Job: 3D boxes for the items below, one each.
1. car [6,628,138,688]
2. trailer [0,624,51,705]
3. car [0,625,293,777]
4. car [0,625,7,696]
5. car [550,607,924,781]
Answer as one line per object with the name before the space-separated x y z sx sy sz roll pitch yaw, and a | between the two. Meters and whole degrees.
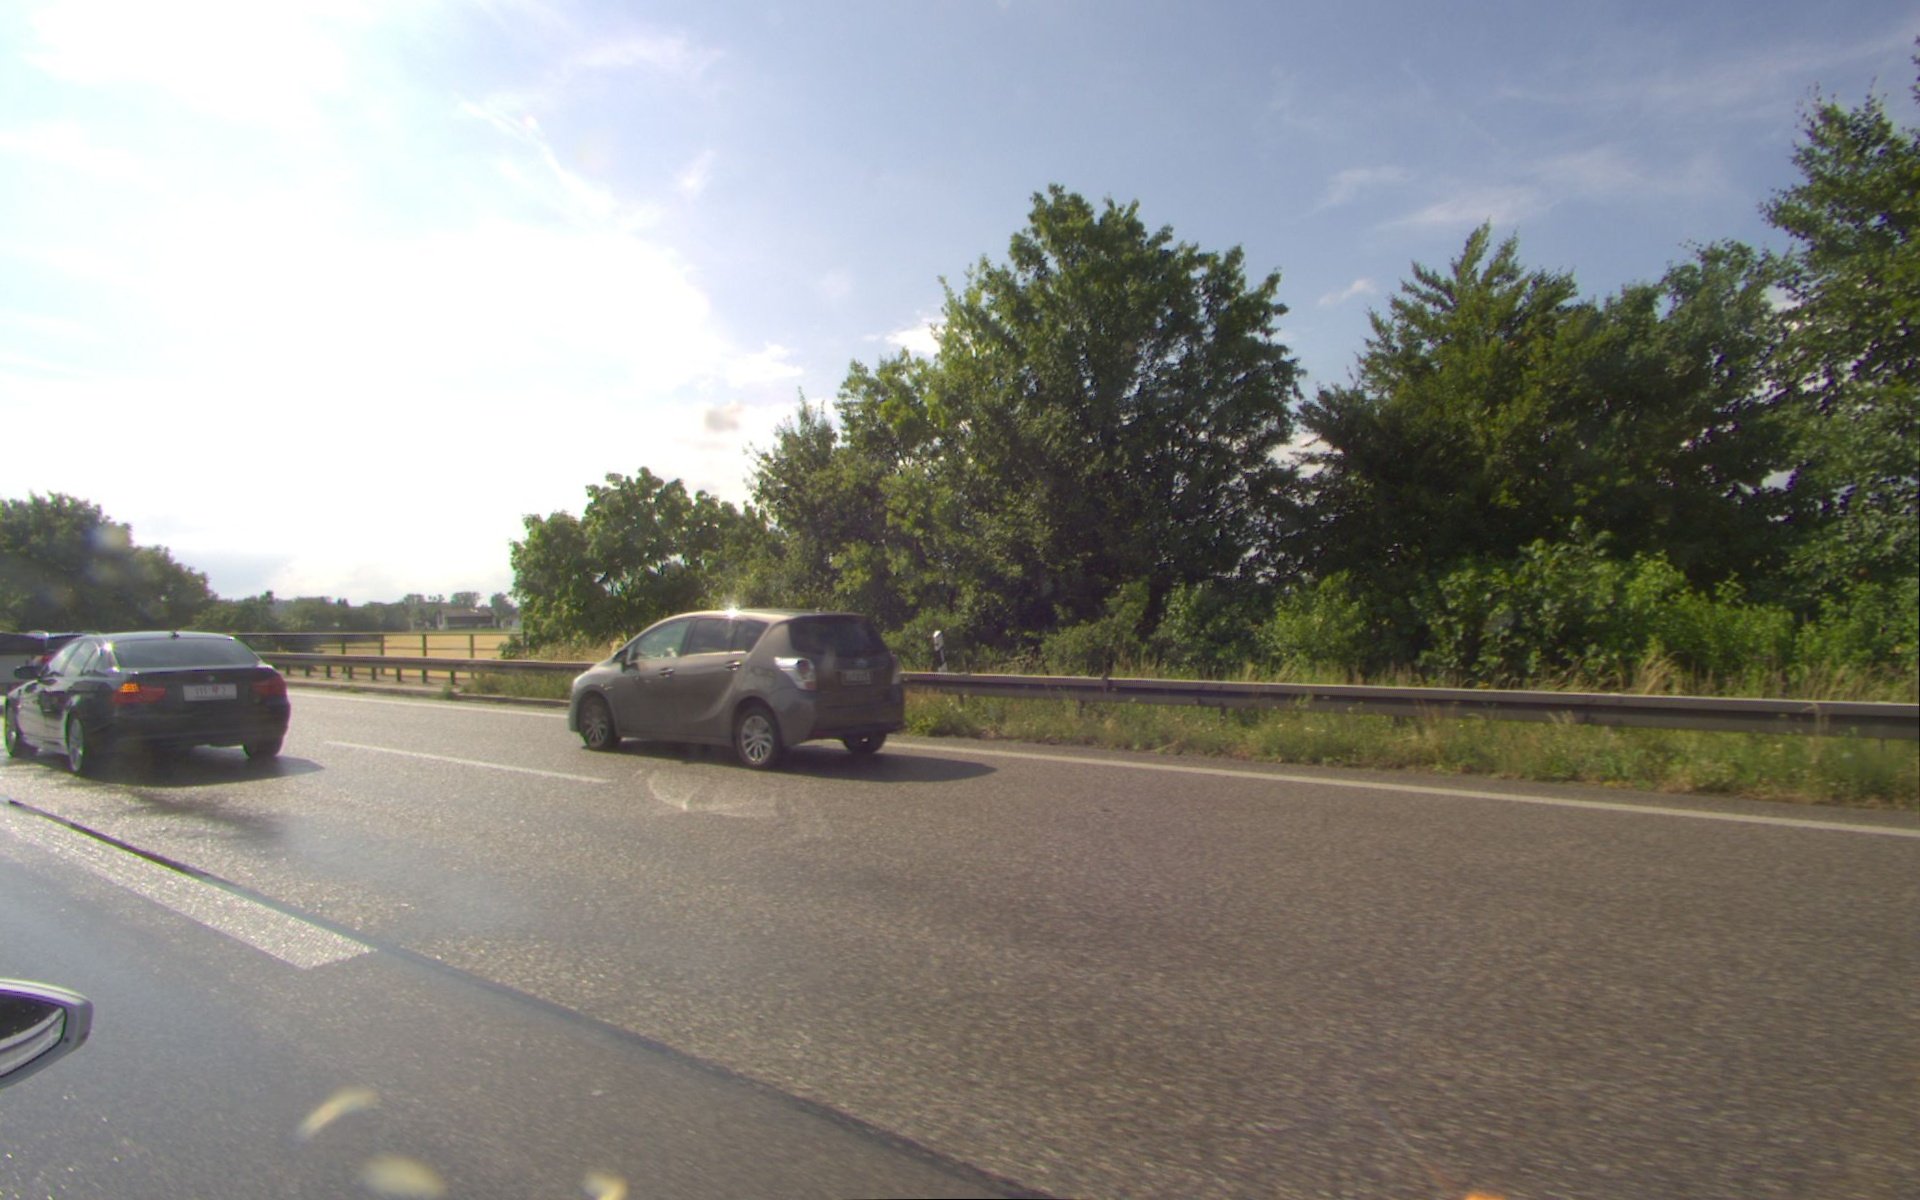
car | -23.130 1.447 26.047 4.234 1.420 1.765 -1 -1 37
trailer | -19.332 1.212 19.327 4.093 1.460 1.849 -1 -1 36
car | -9.374 1.014 11.411 3.785 1.439 1.735 -1 -1 36
car | -22.066 1.271 21.300 4.201 1.460 1.849 -1 -1 36
car | -2.654 0.927 11.440 4.328 1.634 1.782 -1 -1 36
